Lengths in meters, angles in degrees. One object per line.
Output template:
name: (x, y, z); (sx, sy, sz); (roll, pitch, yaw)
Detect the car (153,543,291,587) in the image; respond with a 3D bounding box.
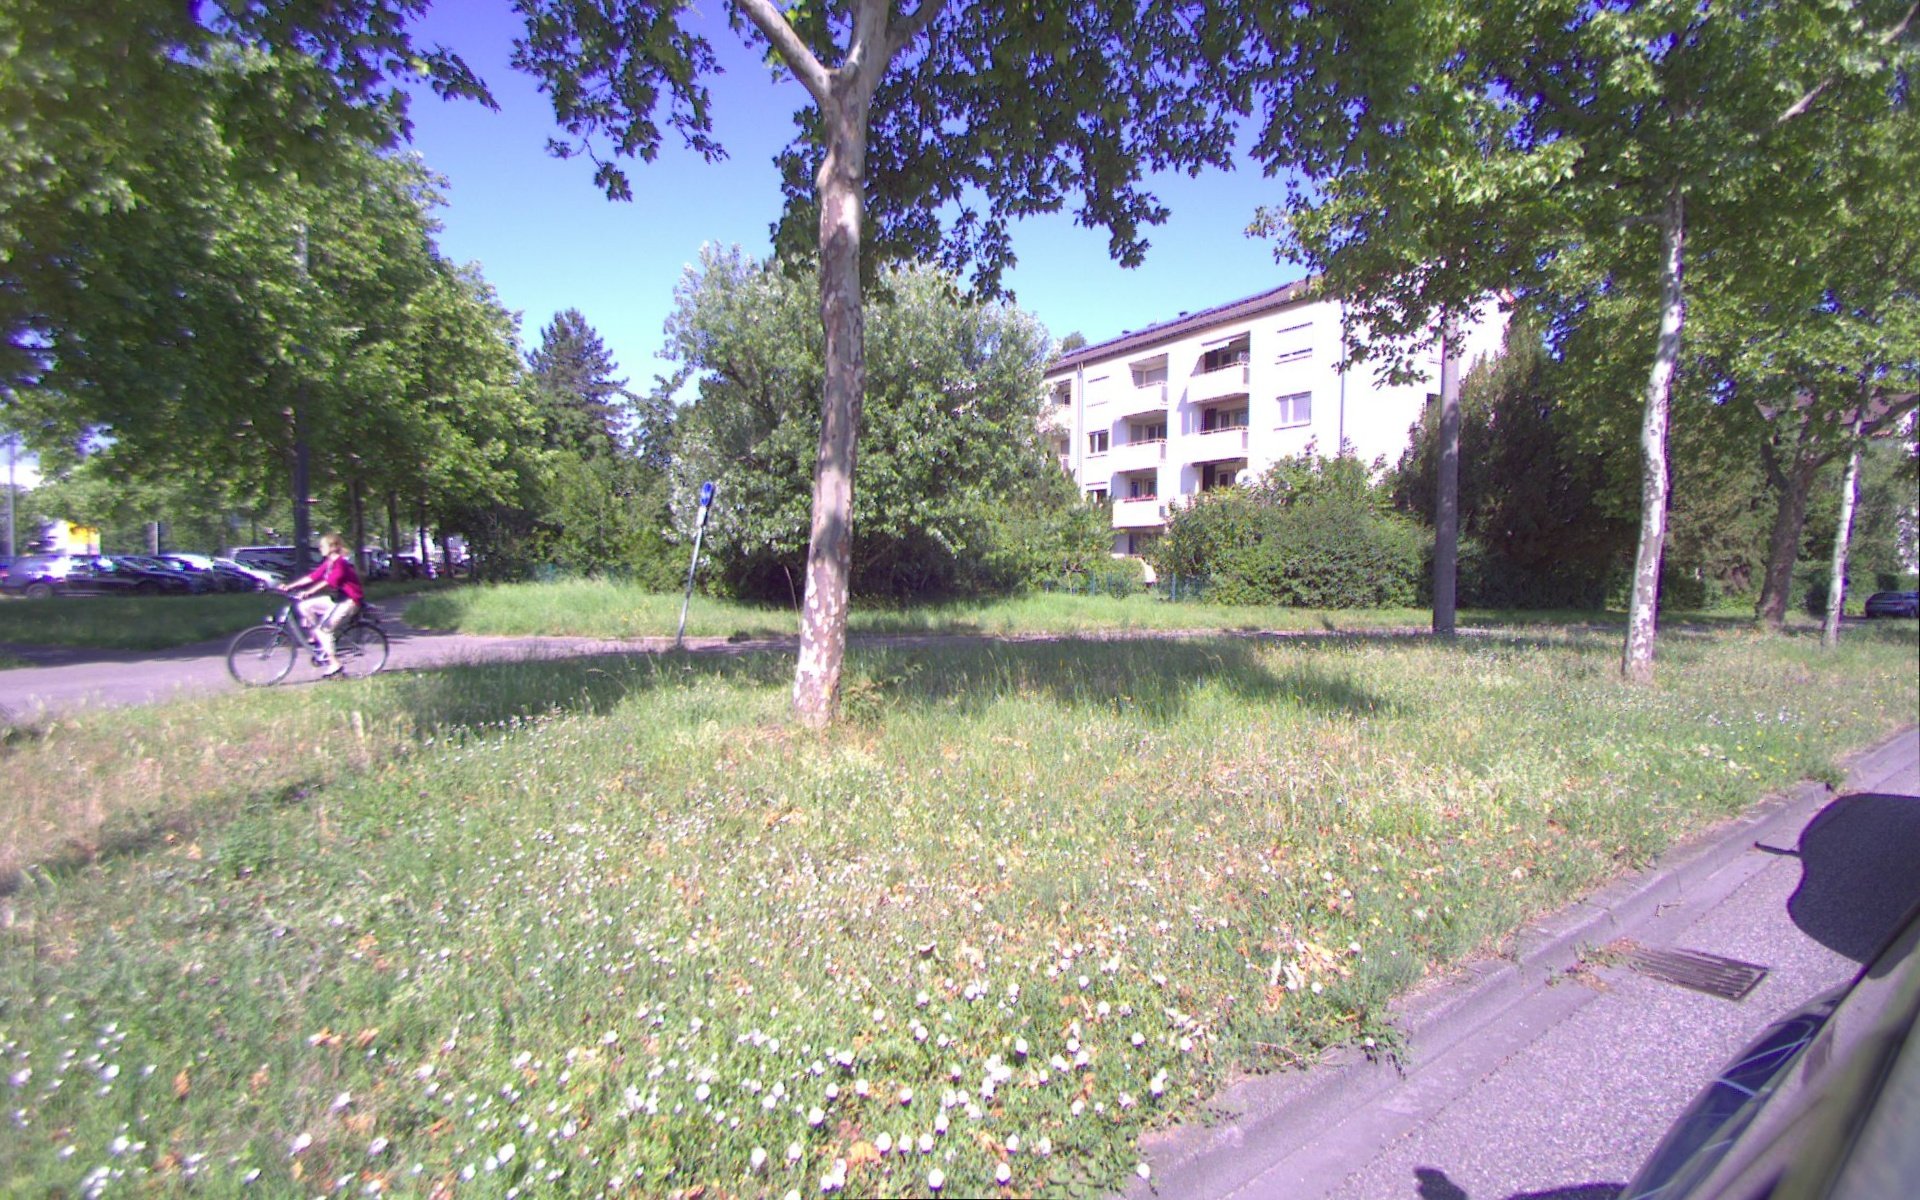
car: (-29.571, -1.397, 40.742); (4.267, 1.653, 2.003); (0, 2, -29)

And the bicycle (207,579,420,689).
bicycle: (-7.749, 0.349, 12.248); (0.688, 1.200, 2.102); (2, 2, 31)

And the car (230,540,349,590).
car: (-32.323, -1.661, 48.919); (4.494, 2.318, 2.004); (0, 2, -24)

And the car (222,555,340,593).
car: (-30.613, -1.174, 45.809); (4.267, 1.653, 2.003); (0, 2, -29)

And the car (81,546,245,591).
car: (-28.007, -1.096, 35.755); (4.267, 1.509, 2.003); (0, 2, -29)

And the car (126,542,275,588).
car: (-28.633, -1.293, 38.348); (4.267, 1.653, 2.002); (0, 0, -29)

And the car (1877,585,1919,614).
car: (47.688, -0.023, 50.429); (4.004, 1.389, 1.510); (0, 2, -25)

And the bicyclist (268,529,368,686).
bicyclist: (-7.751, 0.069, 12.234); (0.697, 1.809, 0.801); (2, 1, 31)

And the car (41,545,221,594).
car: (-26.999, -0.988, 33.184); (4.267, 1.509, 2.003); (0, 2, -29)

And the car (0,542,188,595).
car: (-26.205, -0.939, 30.619); (4.267, 1.509, 2.003); (-1, 2, -29)

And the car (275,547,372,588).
car: (-35.825, -1.827, 57.128); (4.497, 2.236, 2.003); (0, 2, -29)
